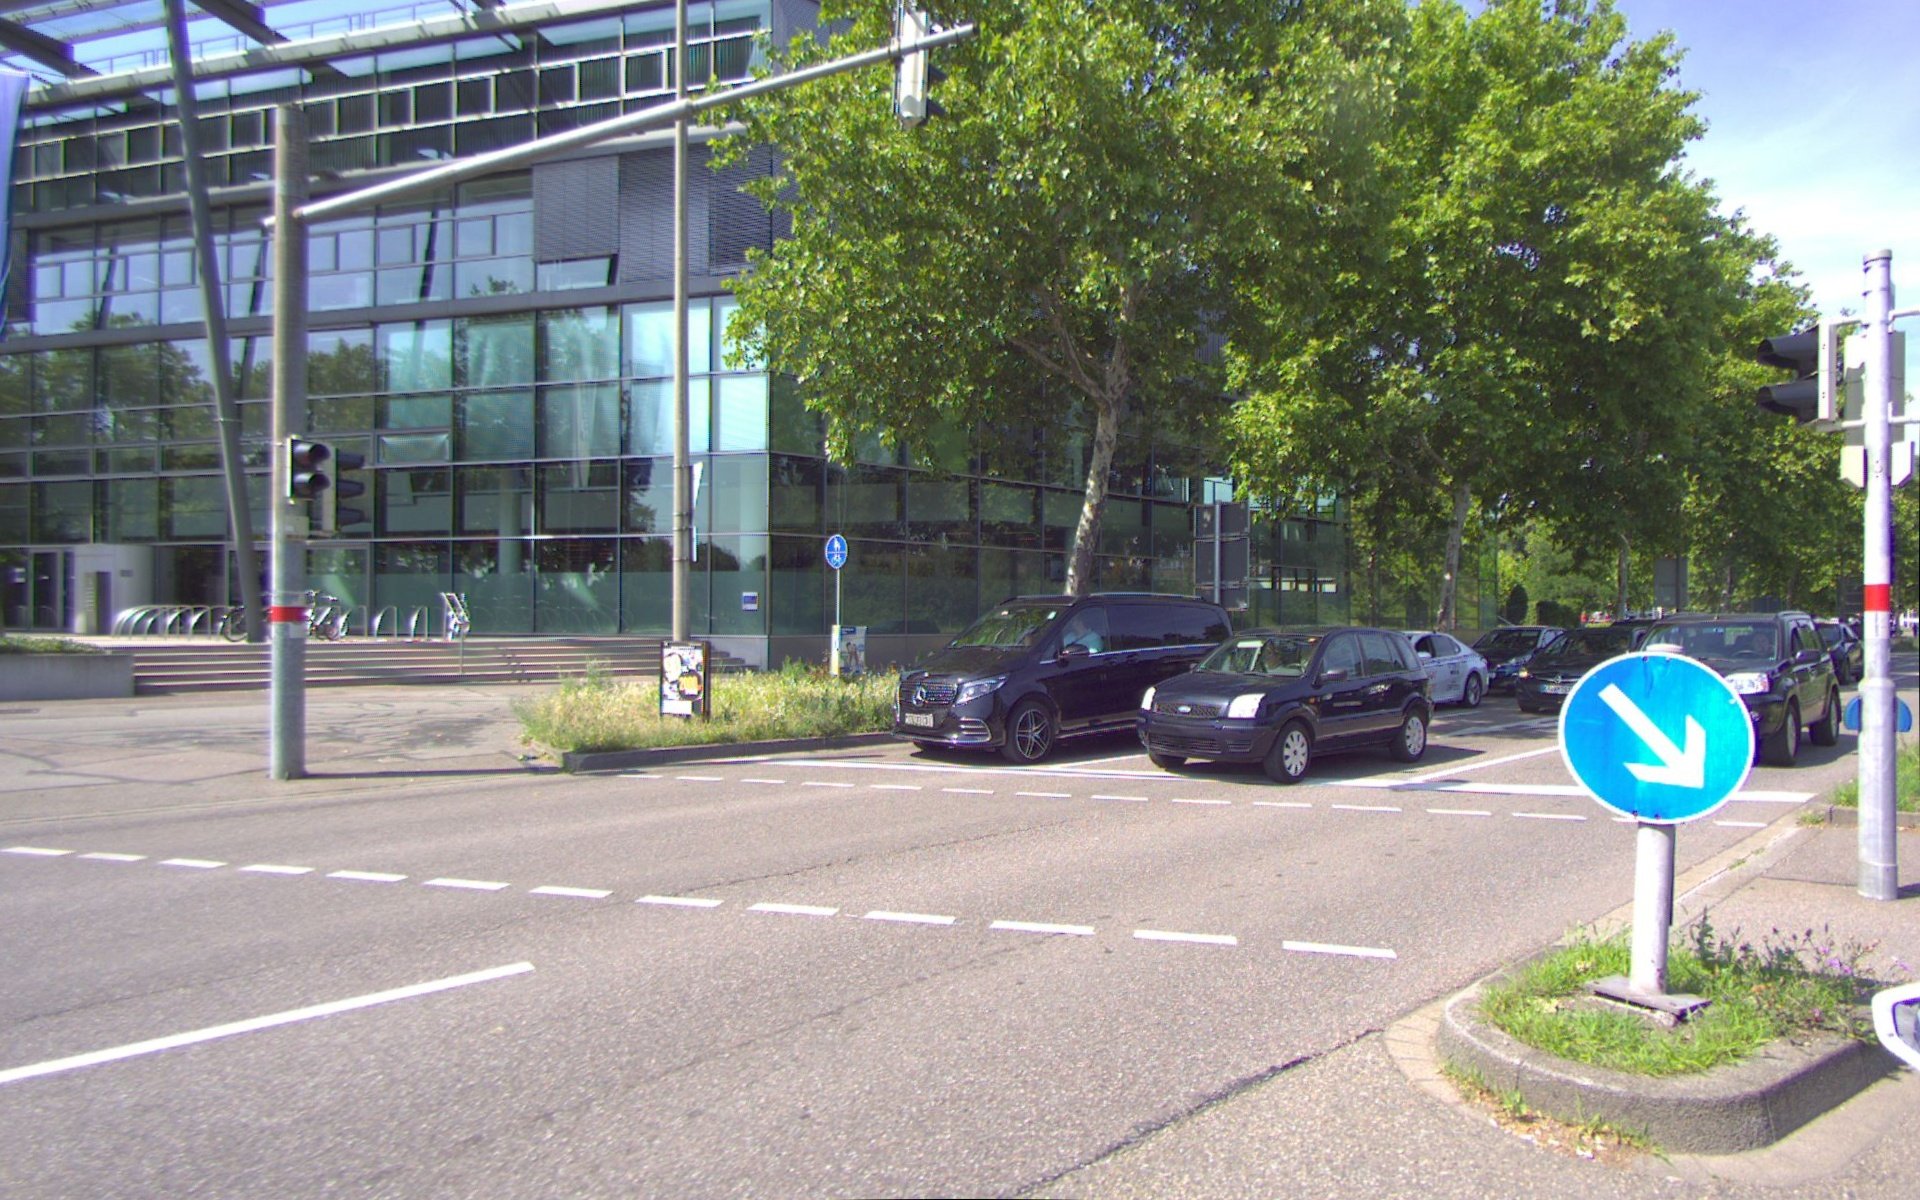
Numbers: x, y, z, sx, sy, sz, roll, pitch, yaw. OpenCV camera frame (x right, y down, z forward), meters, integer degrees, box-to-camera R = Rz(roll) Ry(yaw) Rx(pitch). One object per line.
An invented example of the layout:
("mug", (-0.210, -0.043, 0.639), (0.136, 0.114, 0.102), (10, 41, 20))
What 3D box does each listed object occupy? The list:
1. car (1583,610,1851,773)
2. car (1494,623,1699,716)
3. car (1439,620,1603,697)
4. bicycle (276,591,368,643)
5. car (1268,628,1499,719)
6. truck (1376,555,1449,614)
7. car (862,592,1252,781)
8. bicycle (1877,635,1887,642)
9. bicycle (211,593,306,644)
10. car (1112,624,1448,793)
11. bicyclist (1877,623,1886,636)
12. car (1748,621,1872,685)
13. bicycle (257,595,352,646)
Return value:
("car", (9.375, 0.965, 12.294), (4.457, 1.637, 1.791), (1, -1, -42))
("car", (11.563, 1.194, 18.135), (4.480, 1.481, 1.821), (2, -3, -40))
("car", (13.048, 1.308, 23.277), (4.409, 1.611, 1.872), (2, -3, -40))
("bicycle", (-14.443, 0.393, 22.797), (0.724, 1.126, 1.801), (0, -1, 11))
("car", (7.900, 1.269, 18.518), (4.963, 1.468, 1.876), (2, -3, -40))
("truck", (28.769, -0.894, 64.201), (2.619, 3.440, 8.995), (1, -1, 14))
("car", (1.428, 0.888, 12.778), (5.187, 1.945, 1.921), (0, 0, -41))
("bicycle", (106.433, 4.455, 115.947), (1.911, 0.877, 0.684), (2, -2, -41))
("bicycle", (-16.127, 0.422, 23.149), (0.724, 1.126, 1.801), (0, -1, 11))
("car", (3.611, 1.027, 11.013), (3.926, 1.495, 1.746), (1, -1, -41))
("bicyclist", (106.398, 3.447, 115.936), (0.934, 1.504, 0.675), (2, -2, -40))
("car", (23.796, 1.405, 28.073), (4.460, 1.632, 1.977), (1, -1, -41))
("bicycle", (-15.151, 0.467, 23.272), (0.724, 1.126, 1.887), (0, -1, 11))
